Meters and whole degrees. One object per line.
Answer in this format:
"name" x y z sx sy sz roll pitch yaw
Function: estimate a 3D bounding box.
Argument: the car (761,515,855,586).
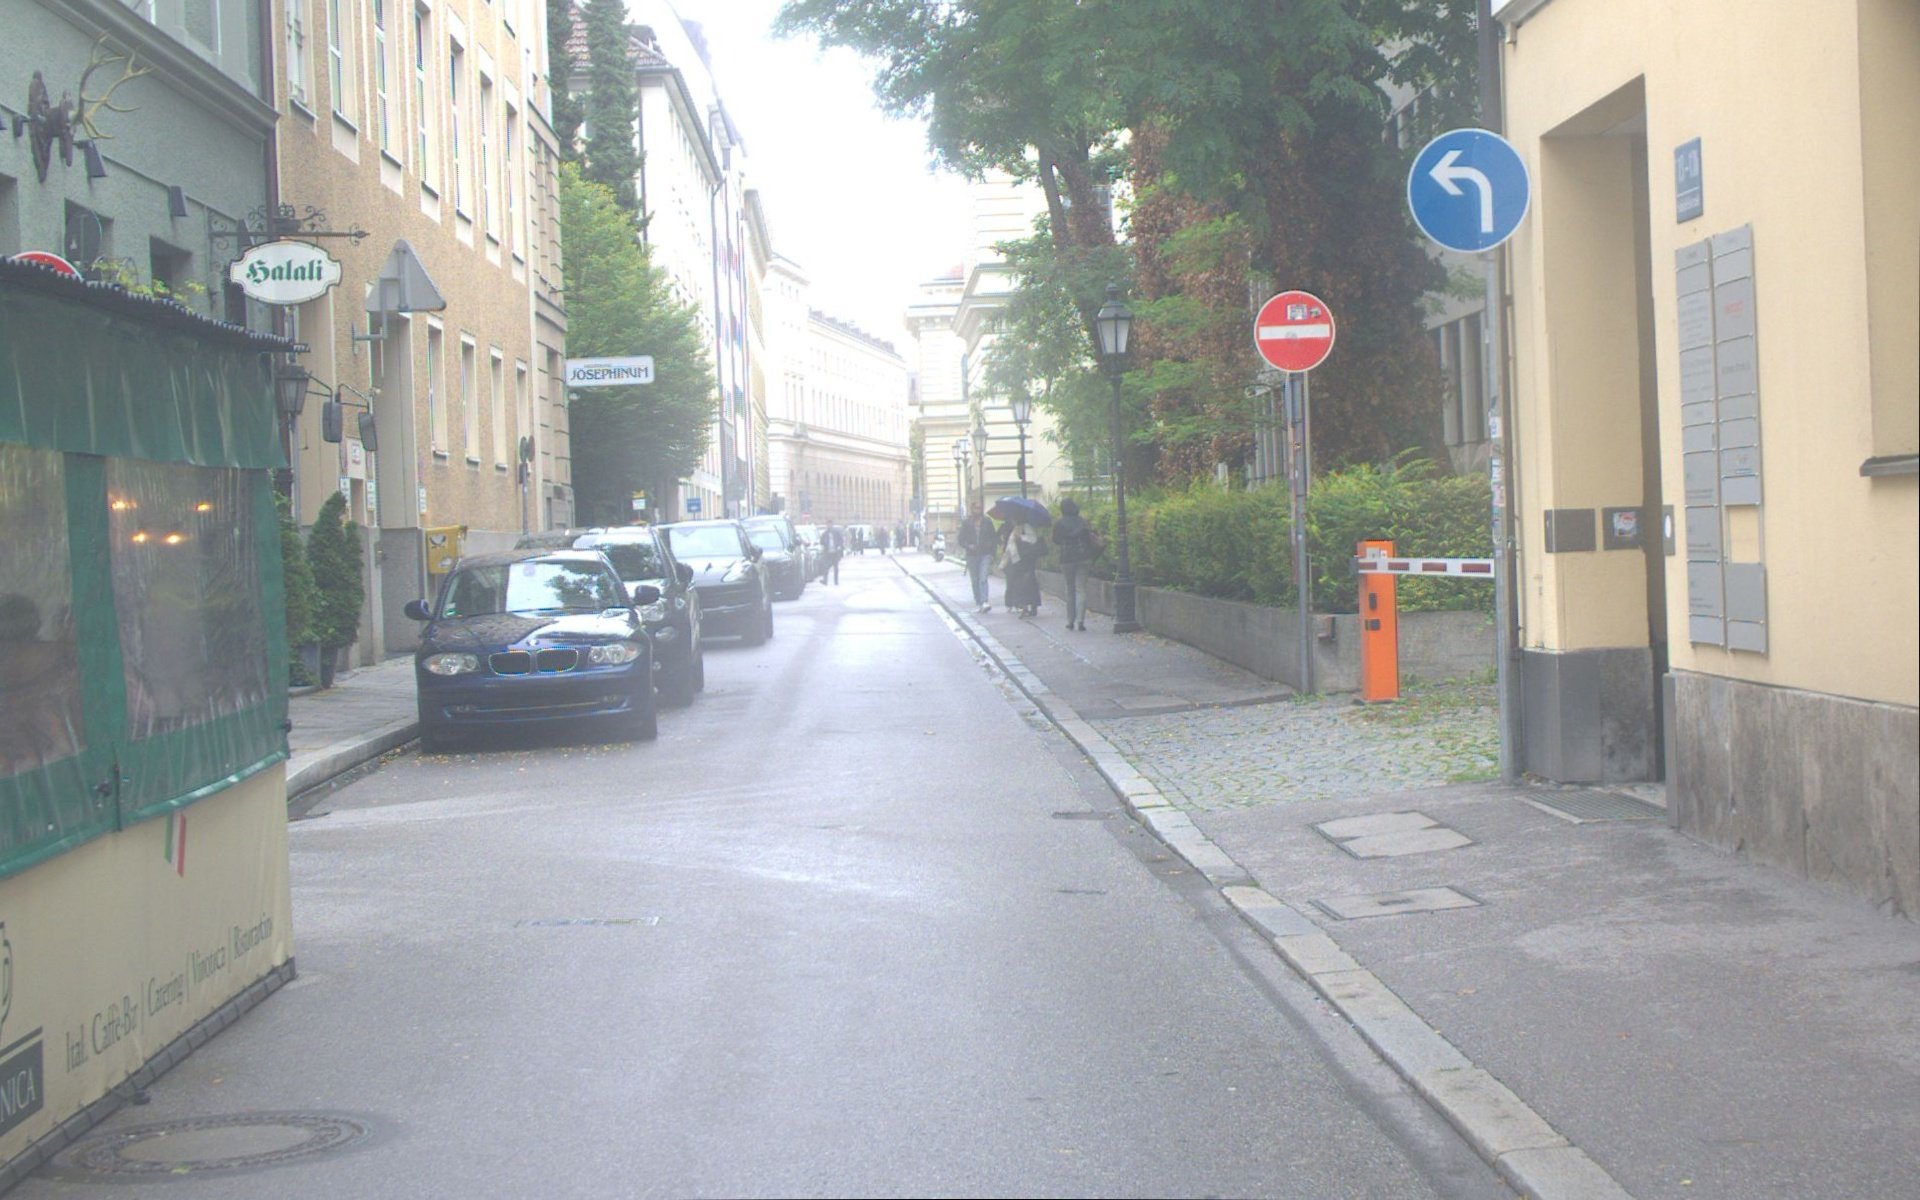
"car" -3.292 -1.098 74.892 1.779 1.461 3.542 -1 1 1

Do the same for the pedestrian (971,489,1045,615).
"pedestrian" 0.694 -0.712 50.214 1.015 1.796 1.349 -1 1 0

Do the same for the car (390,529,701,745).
"car" -3.033 0.219 25.832 1.779 1.461 3.663 -1 1 1

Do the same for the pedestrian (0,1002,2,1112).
"pedestrian" -2.711 0.741 8.506 0.509 1.171 0.631 -1 1 -3

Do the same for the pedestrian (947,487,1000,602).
"pedestrian" 0.212 -0.885 54.461 0.793 1.796 0.903 -1 1 0

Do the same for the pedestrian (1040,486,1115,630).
"pedestrian" 1.487 -0.543 43.777 0.880 1.796 1.046 -1 1 0

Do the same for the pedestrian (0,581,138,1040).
"pedestrian" -2.900 0.617 10.379 0.673 1.322 0.696 -1 1 -3

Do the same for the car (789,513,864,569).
"car" -3.607 -1.607 93.487 1.779 1.461 3.542 -1 1 1

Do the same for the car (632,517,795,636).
"car" -3.202 -0.338 45.167 1.779 1.461 3.542 -1 1 1

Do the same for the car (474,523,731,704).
"car" -3.078 0.075 30.214 1.779 1.461 3.542 -1 1 1
